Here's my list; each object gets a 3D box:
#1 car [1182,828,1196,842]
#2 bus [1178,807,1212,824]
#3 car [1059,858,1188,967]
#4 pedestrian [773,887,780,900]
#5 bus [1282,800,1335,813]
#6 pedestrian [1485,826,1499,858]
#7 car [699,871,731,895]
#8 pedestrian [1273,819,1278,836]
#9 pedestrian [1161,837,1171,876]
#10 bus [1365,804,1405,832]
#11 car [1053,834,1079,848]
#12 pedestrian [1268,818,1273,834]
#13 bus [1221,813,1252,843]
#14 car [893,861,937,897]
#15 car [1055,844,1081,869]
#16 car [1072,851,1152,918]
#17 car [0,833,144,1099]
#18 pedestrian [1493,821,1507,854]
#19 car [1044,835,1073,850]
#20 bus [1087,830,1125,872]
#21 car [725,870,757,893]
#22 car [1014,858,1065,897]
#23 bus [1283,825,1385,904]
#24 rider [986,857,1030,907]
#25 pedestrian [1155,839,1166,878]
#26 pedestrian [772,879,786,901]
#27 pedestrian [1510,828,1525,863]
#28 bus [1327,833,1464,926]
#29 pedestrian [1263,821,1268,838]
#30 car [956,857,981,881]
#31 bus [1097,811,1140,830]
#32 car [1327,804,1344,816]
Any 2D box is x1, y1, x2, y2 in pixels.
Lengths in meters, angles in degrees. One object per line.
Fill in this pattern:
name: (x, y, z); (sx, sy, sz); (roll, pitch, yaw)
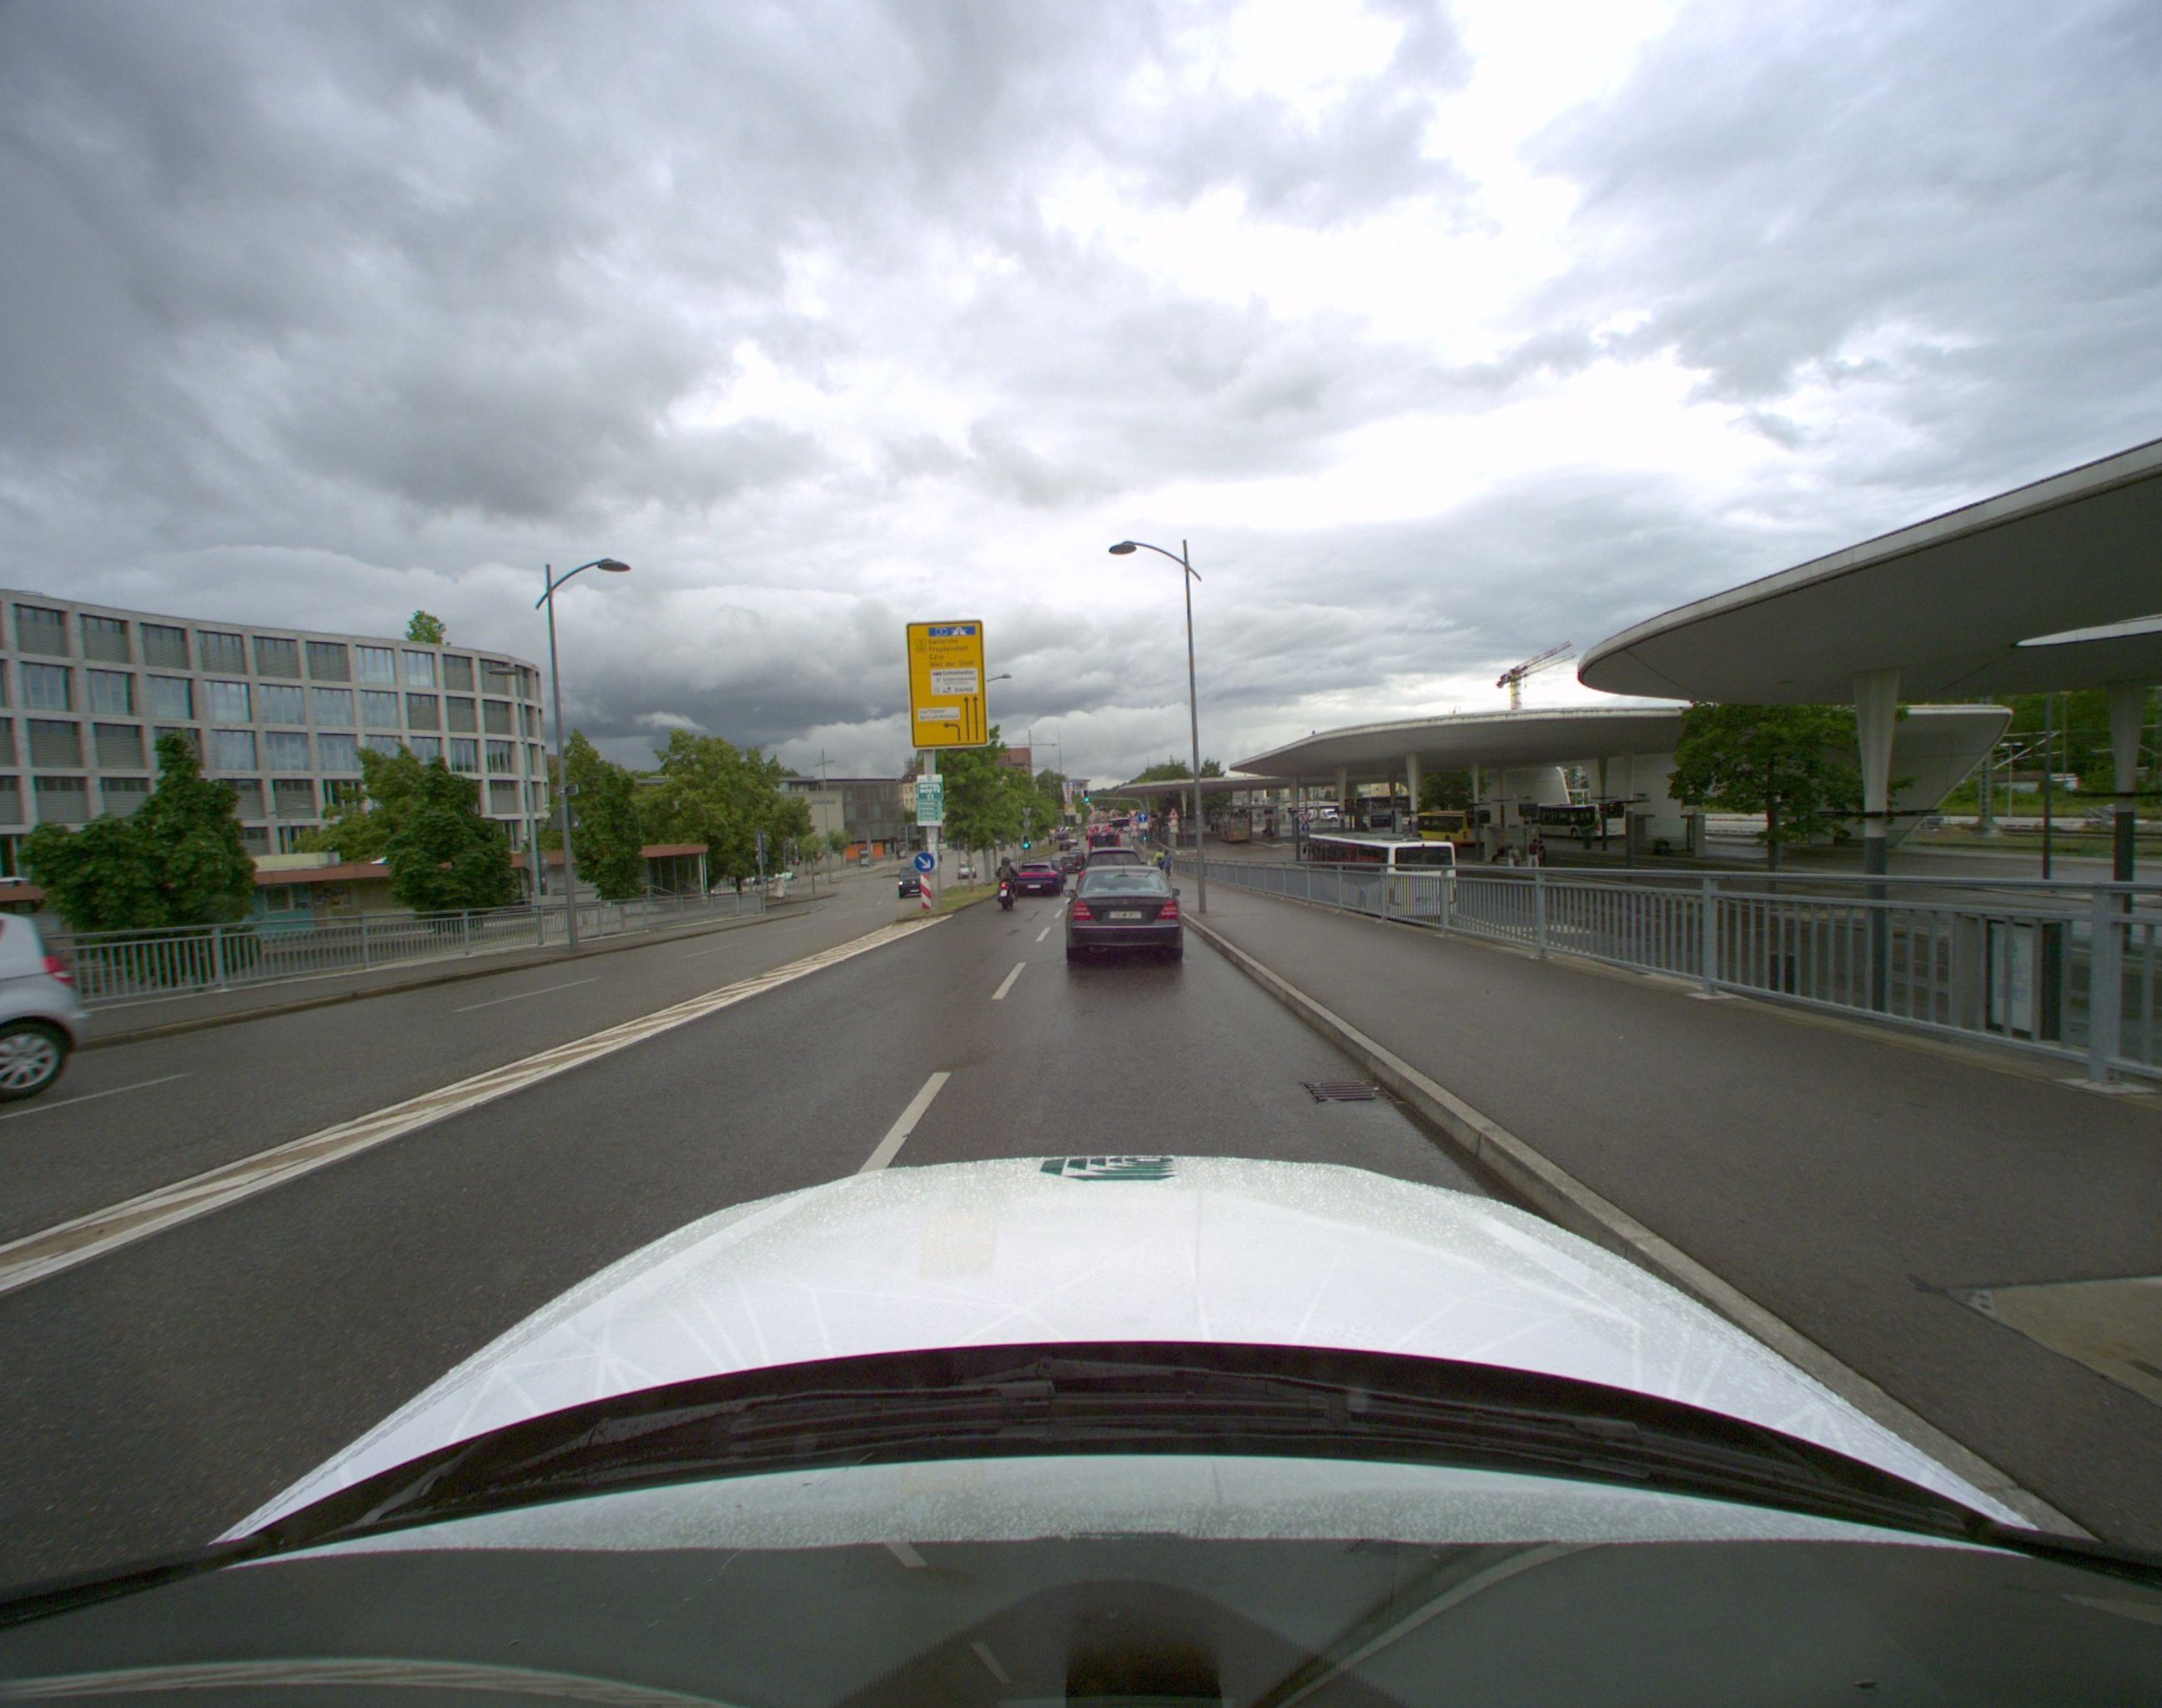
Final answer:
car: (17.114, -2.993, 128.986); (1.983, 2.013, 4.009); (-3, 1, 7)
bus: (26.060, -8.776, 185.796); (7.180, 3.396, 3.080); (-3, 2, -2)
car: (0.730, 0.801, 12.747); (1.698, 1.419, 3.731); (-1, 0, 5)
pedestrian: (-20.683, 2.705, 55.357); (0.299, 0.873, 0.299); (-3, 2, 4)
bus: (45.830, -9.604, 164.419); (10.140, 2.013, 2.169); (-3, 1, -2)
pedestrian: (26.273, -0.788, 52.097); (0.541, 2.013, 0.580); (-3, 0, 2)
car: (-34.416, 2.721, 76.463); (2.008, 2.013, 3.957); (2, 0, -35)
pedestrian: (24.841, -3.370, 103.783); (0.422, 2.014, 0.484); (-3, -2, 3)
pedestrian: (4.500, 0.149, 43.071); (0.422, 2.014, 0.484); (-3, -2, 3)
bus: (36.921, -4.357, 99.143); (2.589, 3.209, 7.002); (-3, 2, 4)
car: (-2.430, -2.150, 135.117); (3.967, 2.013, 2.003); (-3, 1, 5)
pedestrian: (24.911, -3.684, 107.093); (0.422, 2.013, 0.484); (-3, 0, 3)
bus: (20.333, -3.276, 107.059); (3.162, 3.600, 10.530); (-2, 0, 7)
car: (-9.935, 1.475, 49.041); (1.990, 2.014, 4.194); (-3, -1, -5)
car: (-1.036, 0.176, 66.747); (1.986, 2.006, 4.001); (-1, 0, 1)
car: (0.972, 0.791, 23.150); (1.816, 1.687, 4.010); (-1, 0, 8)
car: (-9.232, 0.903, 5.080); (1.986, 2.013, 4.001); (-3, 0, 1)
pedestrian: (26.020, -1.041, 50.579); (0.541, 2.013, 0.580); (-3, 0, 2)
car: (-3.314, -1.658, 120.894); (3.967, 2.013, 2.003); (-3, 1, 5)
bus: (2.078, -0.285, 68.285); (2.817, 3.189, 10.312); (-1, 0, 1)
car: (-32.618, 2.642, 78.148); (2.008, 2.013, 3.957); (2, 0, -35)
car: (-1.669, 0.921, 33.934); (1.753, 1.436, 4.002); (-1, 0, 2)
bus: (12.387, 0.332, 40.559); (2.639, 3.235, 7.069); (-3, 4, -2)
rider: (-2.244, 0.844, 25.397); (0.876, 1.472, 2.201); (-1, 0, 8)
pedestrian: (4.200, 0.259, 43.003); (0.487, 2.014, 0.470); (-3, -2, 3)
pedestrian: (-20.550, 2.429, 55.396); (0.645, 1.408, 0.531); (-3, 2, 4)
pedestrian: (25.892, -0.501, 48.280); (0.558, 2.013, 0.484); (-3, 0, 3)
bus: (12.622, 0.854, 33.437); (2.639, 3.236, 7.068); (-3, 2, -2)
pedestrian: (22.319, -2.969, 98.757); (0.422, 2.013, 0.484); (-3, 0, 3)
car: (-10.228, 1.367, 74.458); (1.990, 2.014, 4.194); (-3, -1, -5)
bus: (8.165, -7.412, 180.924); (3.282, 4.006, 10.773); (-6, 5, -36)
car: (47.423, -8.134, 151.955); (1.986, 2.013, 4.002); (-3, 2, 1)
